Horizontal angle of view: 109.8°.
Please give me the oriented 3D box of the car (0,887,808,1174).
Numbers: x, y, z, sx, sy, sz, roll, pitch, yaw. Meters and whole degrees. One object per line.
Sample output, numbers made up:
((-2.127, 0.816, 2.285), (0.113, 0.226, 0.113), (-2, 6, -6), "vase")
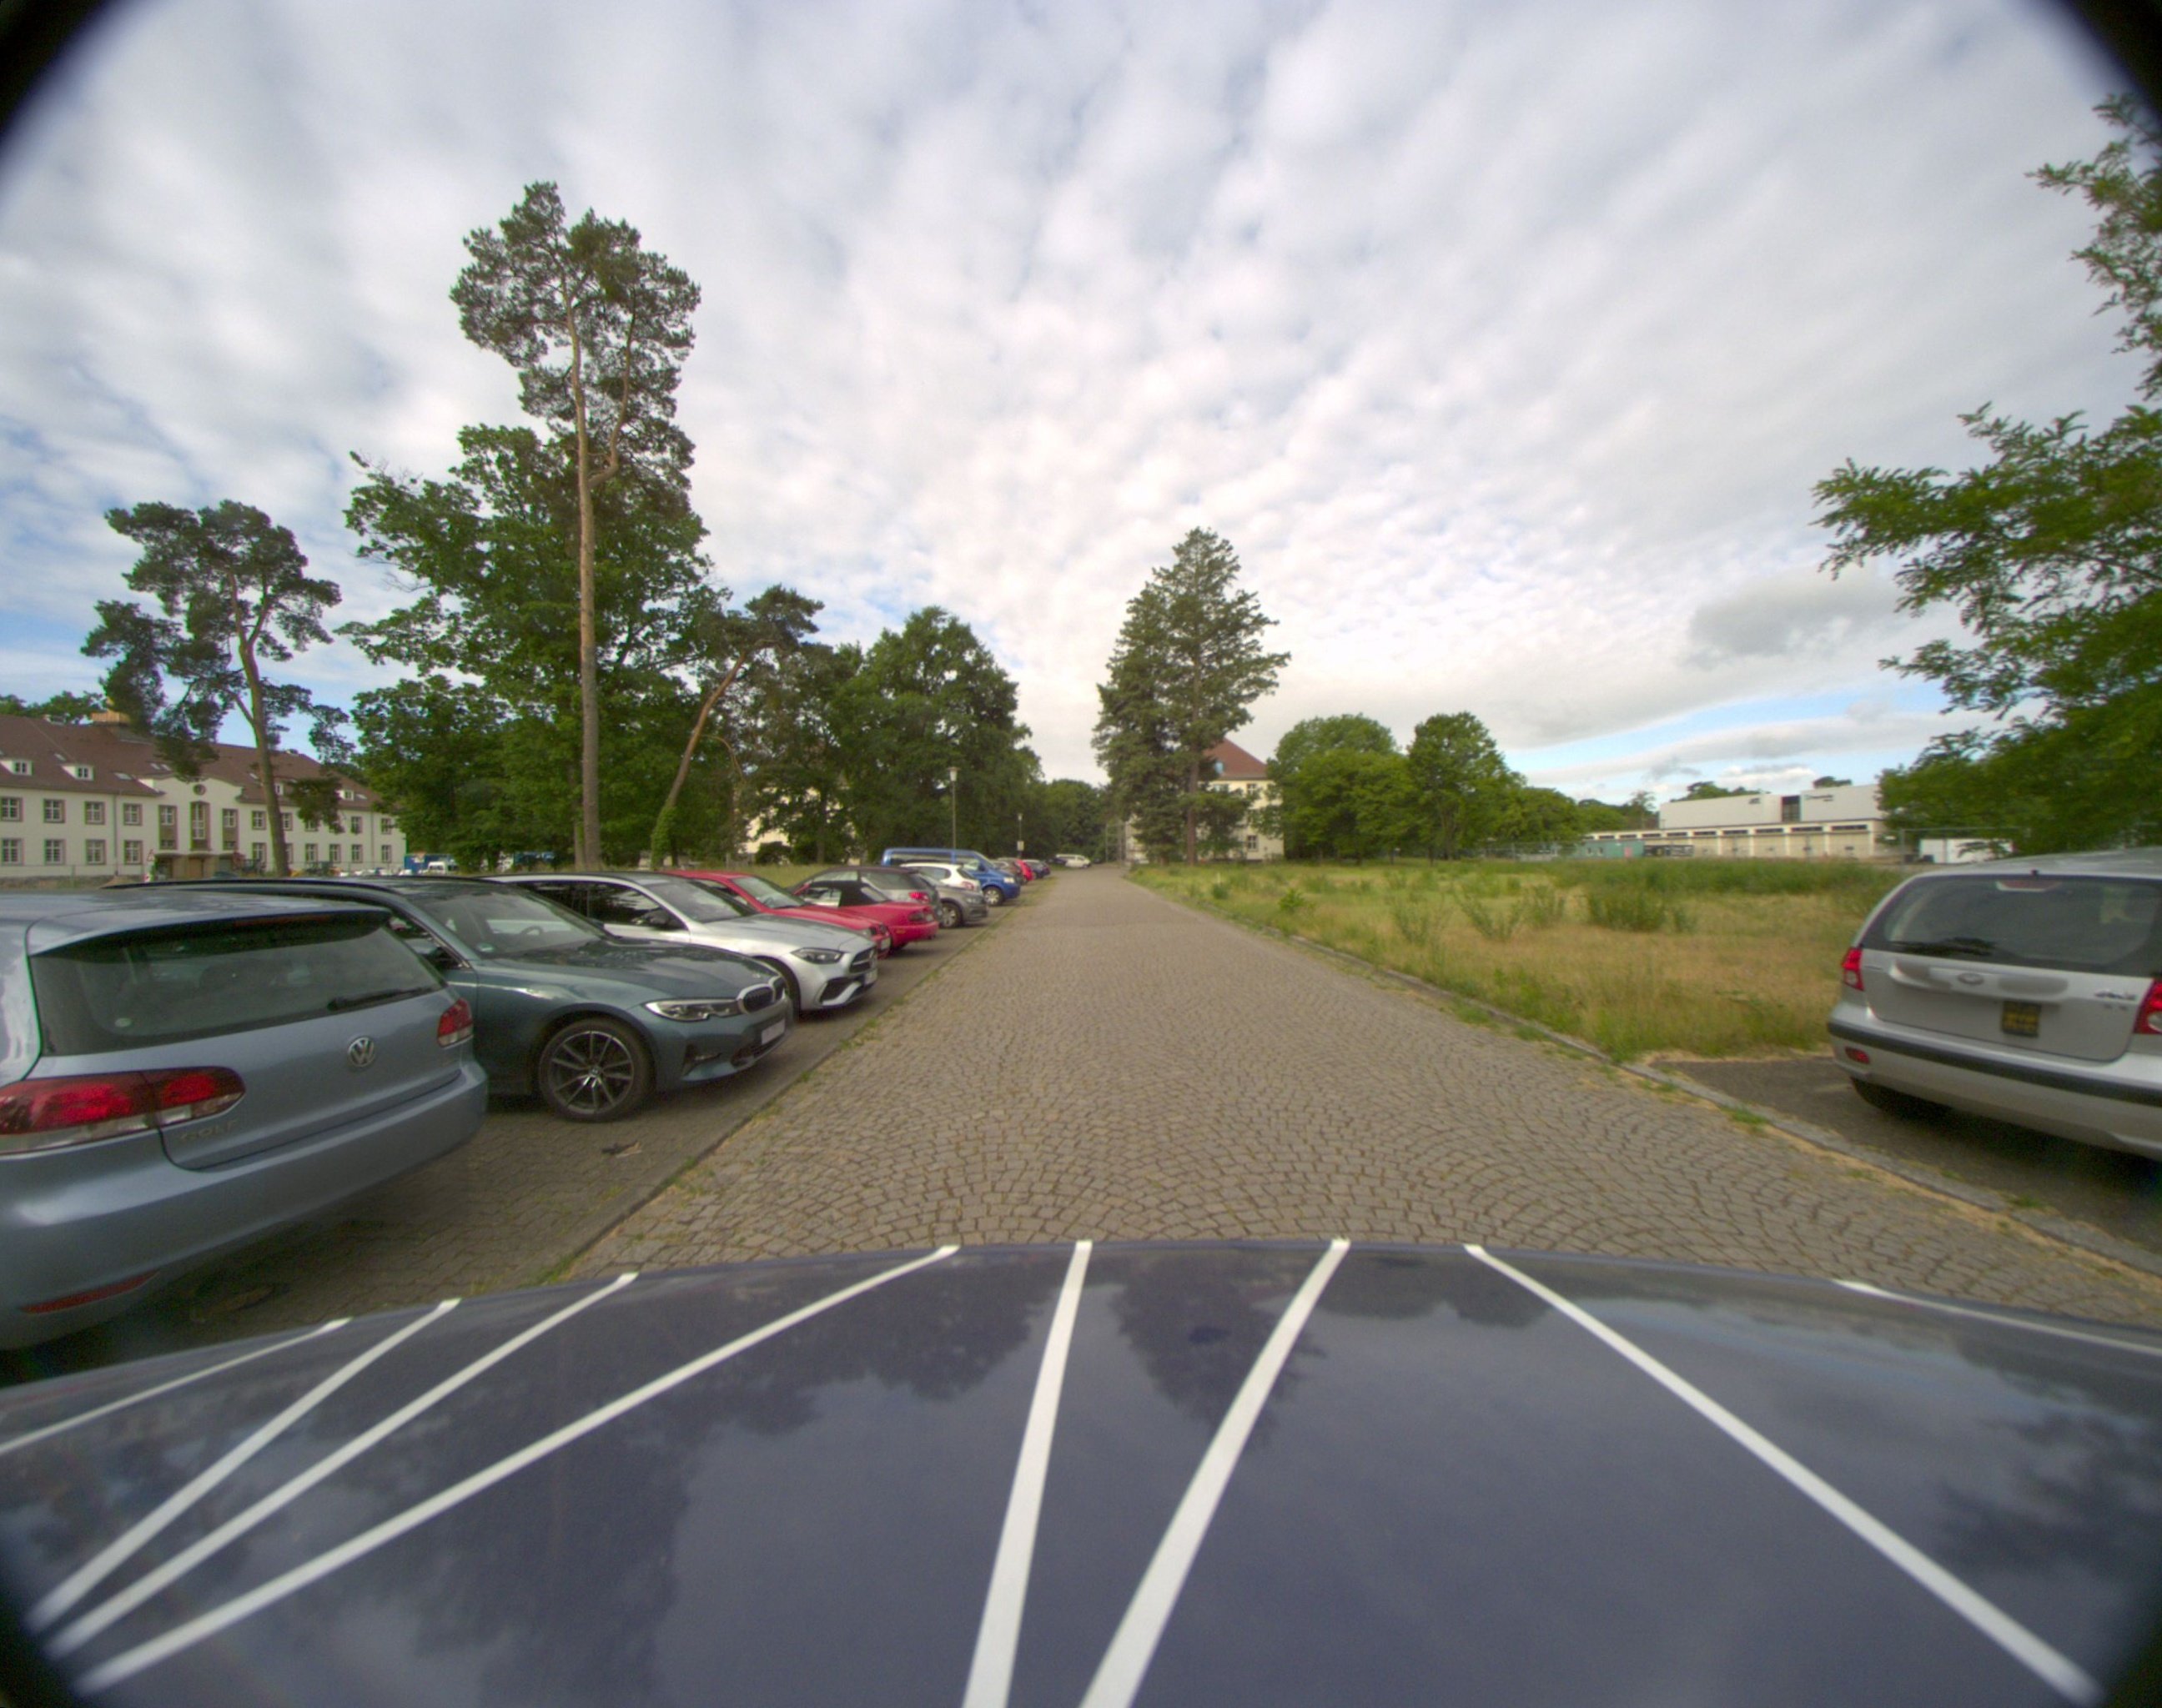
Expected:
((-4.583, 1.039, 5.206), (4.770, 1.474, 1.761), (-1, 0, -3), "car")

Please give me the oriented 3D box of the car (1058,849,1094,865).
((-0.696, 0.456, 109.205), (5.031, 2.164, 2.000), (-1, 0, 2), "car")

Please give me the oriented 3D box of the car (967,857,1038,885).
((-4.662, 0.998, 45.696), (3.997, 1.521, 2.000), (-2, 0, 0), "car")

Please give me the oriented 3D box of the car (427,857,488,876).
((-68.020, 1.329, 83.030), (2.153, 2.002, 5.225), (-1, 0, 3), "car")

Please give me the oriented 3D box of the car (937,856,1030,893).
((-4.473, 0.940, 35.364), (3.997, 1.601, 2.000), (-1, 0, 0), "car")

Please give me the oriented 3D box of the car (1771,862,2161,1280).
((5.898, 0.806, 3.608), (3.688, 1.444, 1.807), (-3, 1, -4), "car")

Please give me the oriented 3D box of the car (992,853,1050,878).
((-4.394, 0.838, 55.944), (4.007, 1.752, 2.000), (-1, 0, 1), "car")

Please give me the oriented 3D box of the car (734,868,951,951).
((-4.659, 1.064, 15.288), (3.787, 1.497, 1.799), (-1, 0, -2), "car")

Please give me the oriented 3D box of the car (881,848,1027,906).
((-4.311, 0.771, 26.422), (4.749, 1.928, 2.000), (0, 0, 0), "car")

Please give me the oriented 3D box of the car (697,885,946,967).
((-4.183, 1.154, 12.600), (3.600, 1.200, 1.495), (-1, 0, 1), "car")

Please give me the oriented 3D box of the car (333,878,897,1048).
((-4.542, 1.043, 7.959), (4.769, 1.474, 1.812), (-1, 0, 0), "car")

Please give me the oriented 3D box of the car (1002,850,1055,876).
((-4.135, 0.728, 60.340), (3.996, 2.002, 2.000), (-1, 0, 1), "car")

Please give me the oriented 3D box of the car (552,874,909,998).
((-4.546, 1.037, 10.313), (3.972, 1.444, 1.800), (-1, 0, 0), "car")

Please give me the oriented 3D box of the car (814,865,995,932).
((-4.119, 1.025, 18.175), (3.848, 1.448, 1.820), (-1, 0, 3), "car")

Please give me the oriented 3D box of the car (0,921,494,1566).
((-4.496, 1.002, 2.557), (3.773, 1.418, 1.605), (0, 0, 0), "car")

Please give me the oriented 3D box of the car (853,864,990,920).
((-4.339, 1.022, 20.999), (3.408, 1.443, 1.637), (-1, 0, 1), "car")
